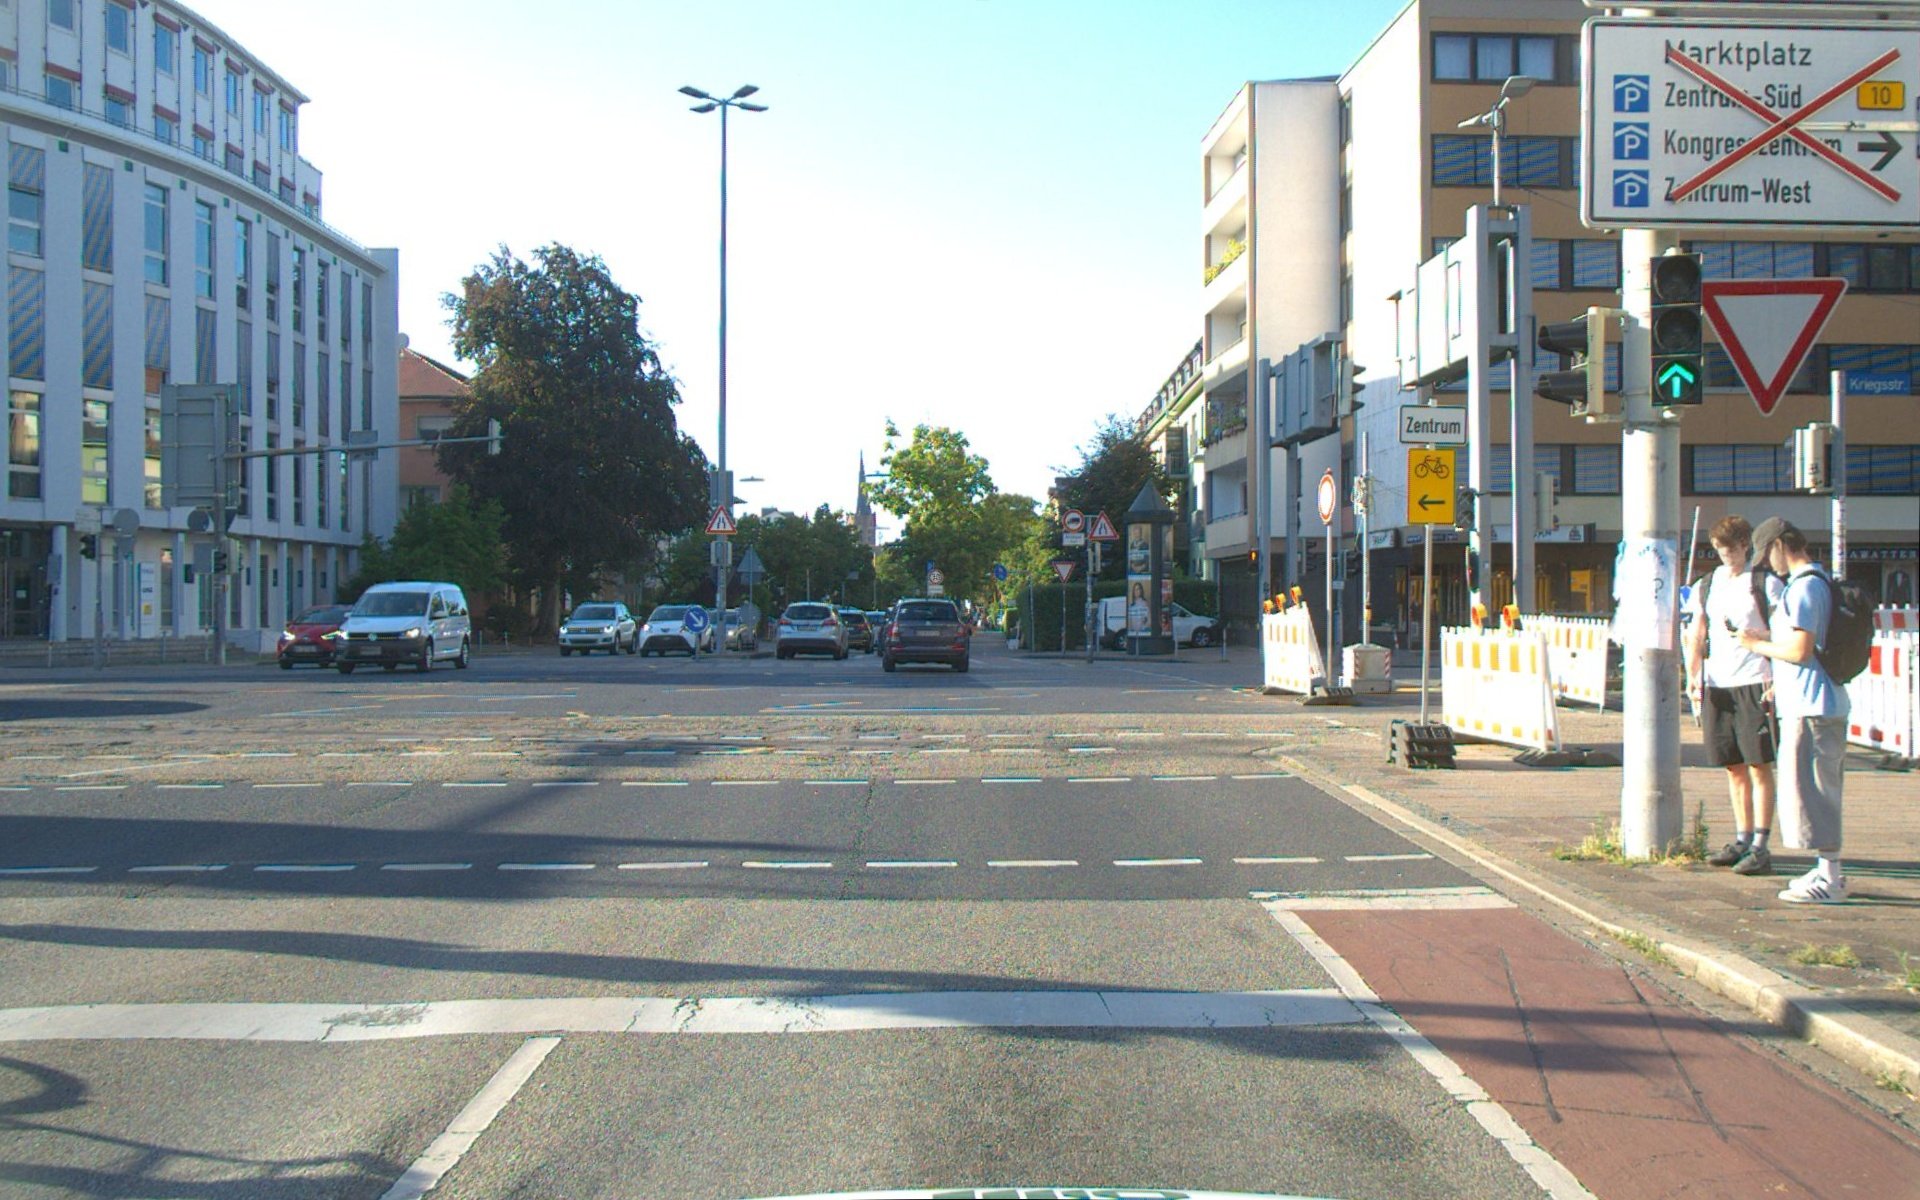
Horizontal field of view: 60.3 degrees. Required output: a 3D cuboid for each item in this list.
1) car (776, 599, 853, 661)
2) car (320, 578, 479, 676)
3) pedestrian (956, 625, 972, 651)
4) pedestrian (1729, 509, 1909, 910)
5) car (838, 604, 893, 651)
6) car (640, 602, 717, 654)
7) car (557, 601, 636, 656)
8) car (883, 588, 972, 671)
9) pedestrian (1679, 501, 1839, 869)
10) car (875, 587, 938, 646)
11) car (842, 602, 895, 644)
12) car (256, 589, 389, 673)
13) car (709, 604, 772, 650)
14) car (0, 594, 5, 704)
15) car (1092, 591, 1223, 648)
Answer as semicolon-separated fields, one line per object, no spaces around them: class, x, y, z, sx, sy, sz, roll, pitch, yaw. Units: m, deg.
car;-3.895;0.780;44.786;1.712;1.591;4.049;0;0;0
car;-11.345;0.520;33.818;1.877;1.843;4.714;0;0;-3
pedestrian;0.303;2.946;128.416;1.185;2.049;1.421;0;0;-2
pedestrian;4.155;0.503;8.049;0.726;1.831;0.715;-1;-1;25
car;-3.319;0.942;58.502;1.712;1.591;4.049;0;0;0
car;-8.377;0.795;49.451;1.811;1.487;4.047;0;0;-3
car;-11.546;0.867;52.738;1.843;1.683;4.047;0;0;-3
car;-0.634;0.576;33.981;1.712;1.591;4.049;0;0;0
pedestrian;4.273;0.436;8.872;0.510;1.901;0.614;0;0;-7
car;-1.576;0.467;48.882;1.783;1.668;3.999;0;0;-2
car;-3.630;0.943;66.356;1.953;1.534;3.998;-2;-2;-2
car;-14.799;0.694;38.604;1.713;1.843;4.047;0;0;-3
car;-7.341;0.885;55.641;1.811;1.487;4.047;0;0;-3
car;-14.000;0.674;20.762;1.624;1.521;4.345;0;0;-2
car;6.847;0.680;57.745;4.276;1.910;1.999;0;0;-2
